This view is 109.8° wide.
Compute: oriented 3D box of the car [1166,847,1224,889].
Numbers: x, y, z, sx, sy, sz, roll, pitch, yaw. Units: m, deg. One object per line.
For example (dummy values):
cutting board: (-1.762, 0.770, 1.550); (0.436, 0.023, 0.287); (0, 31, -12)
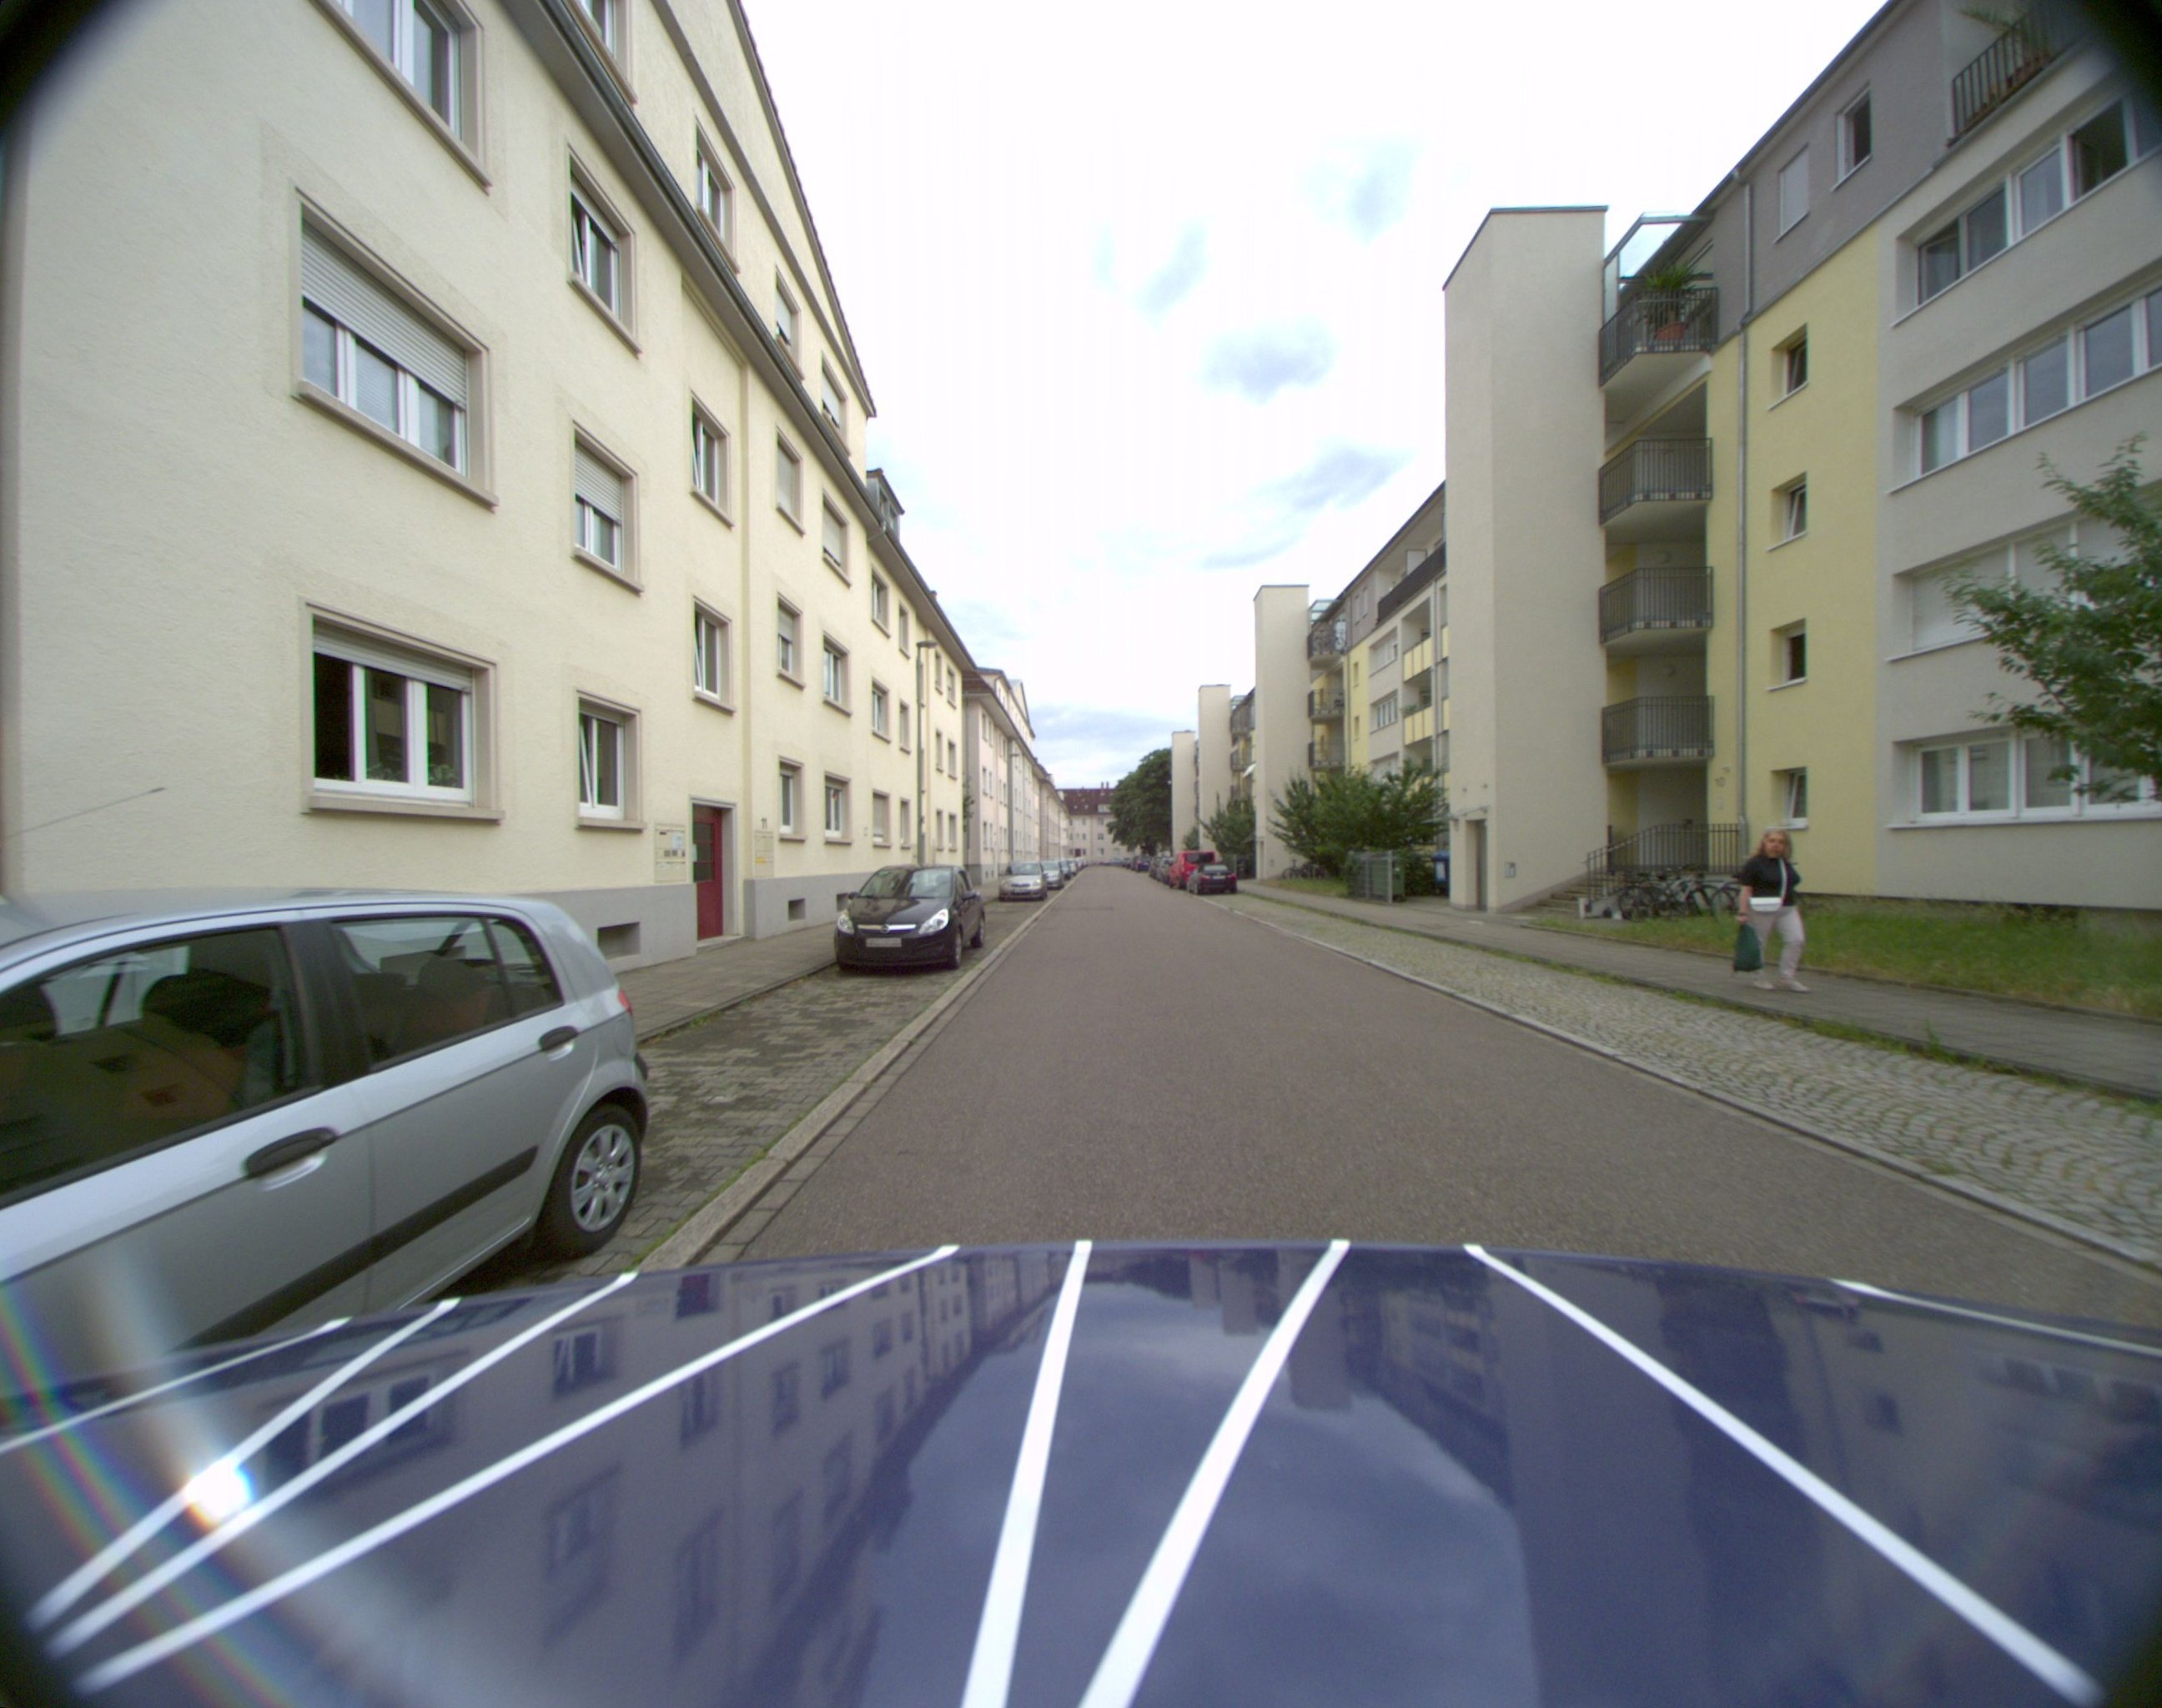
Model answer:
car: (5.876, 0.673, 39.792); (2.157, 1.942, 4.921); (-3, 0, -1)

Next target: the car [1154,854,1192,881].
car: (6.044, 0.852, 50.368); (1.839, 1.561, 4.861); (-3, 0, -1)

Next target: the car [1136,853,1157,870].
car: (6.853, 0.782, 79.704); (1.804, 1.617, 4.472); (-2, 0, 1)

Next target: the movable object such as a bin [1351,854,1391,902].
movable object such as a bin: (9.097, 0.738, 23.876); (0.805, 1.421, 1.288); (-2, 0, 4)

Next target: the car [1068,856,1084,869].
car: (-0.587, 0.969, 89.751); (1.792, 1.455, 4.040); (0, 0, 1)

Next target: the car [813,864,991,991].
car: (-2.537, 0.971, 11.770); (1.729, 1.508, 4.060); (-2, 0, 0)

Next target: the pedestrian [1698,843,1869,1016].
pedestrian: (7.003, 0.708, 7.624); (0.802, 1.600, 0.946); (-2, 0, -3)

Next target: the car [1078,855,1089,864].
car: (0.379, 0.899, 125.500); (1.763, 1.595, 3.956); (0, 0, 1)

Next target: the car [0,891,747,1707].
car: (-2.823, 0.949, 2.379); (1.853, 1.441, 3.832); (-1, 0, 0)

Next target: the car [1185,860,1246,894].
car: (5.877, 0.971, 33.697); (1.875, 1.316, 4.361); (-3, 0, 0)

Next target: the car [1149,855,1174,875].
car: (6.486, 0.877, 61.704); (1.647, 1.430, 3.857); (-3, 0, 1)

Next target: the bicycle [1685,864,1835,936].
bicycle: (11.463, 0.758, 12.855); (2.028, 1.135, 0.623); (-1, 1, -2)

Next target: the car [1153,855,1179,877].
car: (6.216, 0.868, 56.102); (1.657, 1.521, 3.896); (-3, 0, 4)

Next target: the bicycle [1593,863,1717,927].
bicycle: (10.847, 0.753, 14.367); (2.029, 1.135, 0.623); (-1, 1, -8)

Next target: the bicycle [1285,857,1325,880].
bicycle: (11.457, 0.740, 38.909); (1.839, 1.112, 0.605); (-2, 0, 0)

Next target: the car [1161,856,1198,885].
car: (5.824, 0.924, 45.350); (1.725, 1.561, 4.054); (-3, 0, 1)

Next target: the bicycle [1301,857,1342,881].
bicycle: (11.773, 0.721, 37.252); (1.838, 1.112, 0.571); (-1, 0, 8)

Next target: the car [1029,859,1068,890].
car: (-1.639, 1.024, 39.316); (1.729, 1.483, 4.061); (-1, 0, 1)

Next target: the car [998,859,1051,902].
car: (-2.095, 0.961, 29.152); (1.729, 1.508, 4.060); (-1, 0, 0)

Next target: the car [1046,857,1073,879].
car: (-1.512, 0.962, 54.681); (1.729, 1.460, 4.264); (0, 0, 1)

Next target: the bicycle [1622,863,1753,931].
bicycle: (10.956, 0.755, 13.741); (2.029, 1.135, 0.623); (-1, 1, -8)

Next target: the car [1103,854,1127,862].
car: (6.705, 0.841, 150.226); (4.545, 1.551, 1.565); (0, 0, 5)

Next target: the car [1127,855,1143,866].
car: (7.556, 0.867, 107.231); (1.919, 1.431, 4.434); (-3, 0, 0)

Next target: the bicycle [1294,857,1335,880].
bicycle: (11.741, 0.720, 38.229); (1.839, 1.112, 0.570); (-1, 0, 3)

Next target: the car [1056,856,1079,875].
car: (-1.171, 0.968, 67.769); (1.788, 1.590, 3.805); (-2, 0, 2)

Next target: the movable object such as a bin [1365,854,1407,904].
movable object such as a bin: (9.019, 0.717, 22.516); (0.805, 1.421, 1.288); (-2, 0, 5)

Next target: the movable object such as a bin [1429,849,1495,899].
movable object such as a bin: (11.806, 0.614, 23.605); (1.355, 1.456, 1.372); (-2, 0, 0)

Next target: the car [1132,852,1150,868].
car: (7.208, 0.700, 91.805); (1.891, 1.844, 4.785); (-1, 0, 1)
